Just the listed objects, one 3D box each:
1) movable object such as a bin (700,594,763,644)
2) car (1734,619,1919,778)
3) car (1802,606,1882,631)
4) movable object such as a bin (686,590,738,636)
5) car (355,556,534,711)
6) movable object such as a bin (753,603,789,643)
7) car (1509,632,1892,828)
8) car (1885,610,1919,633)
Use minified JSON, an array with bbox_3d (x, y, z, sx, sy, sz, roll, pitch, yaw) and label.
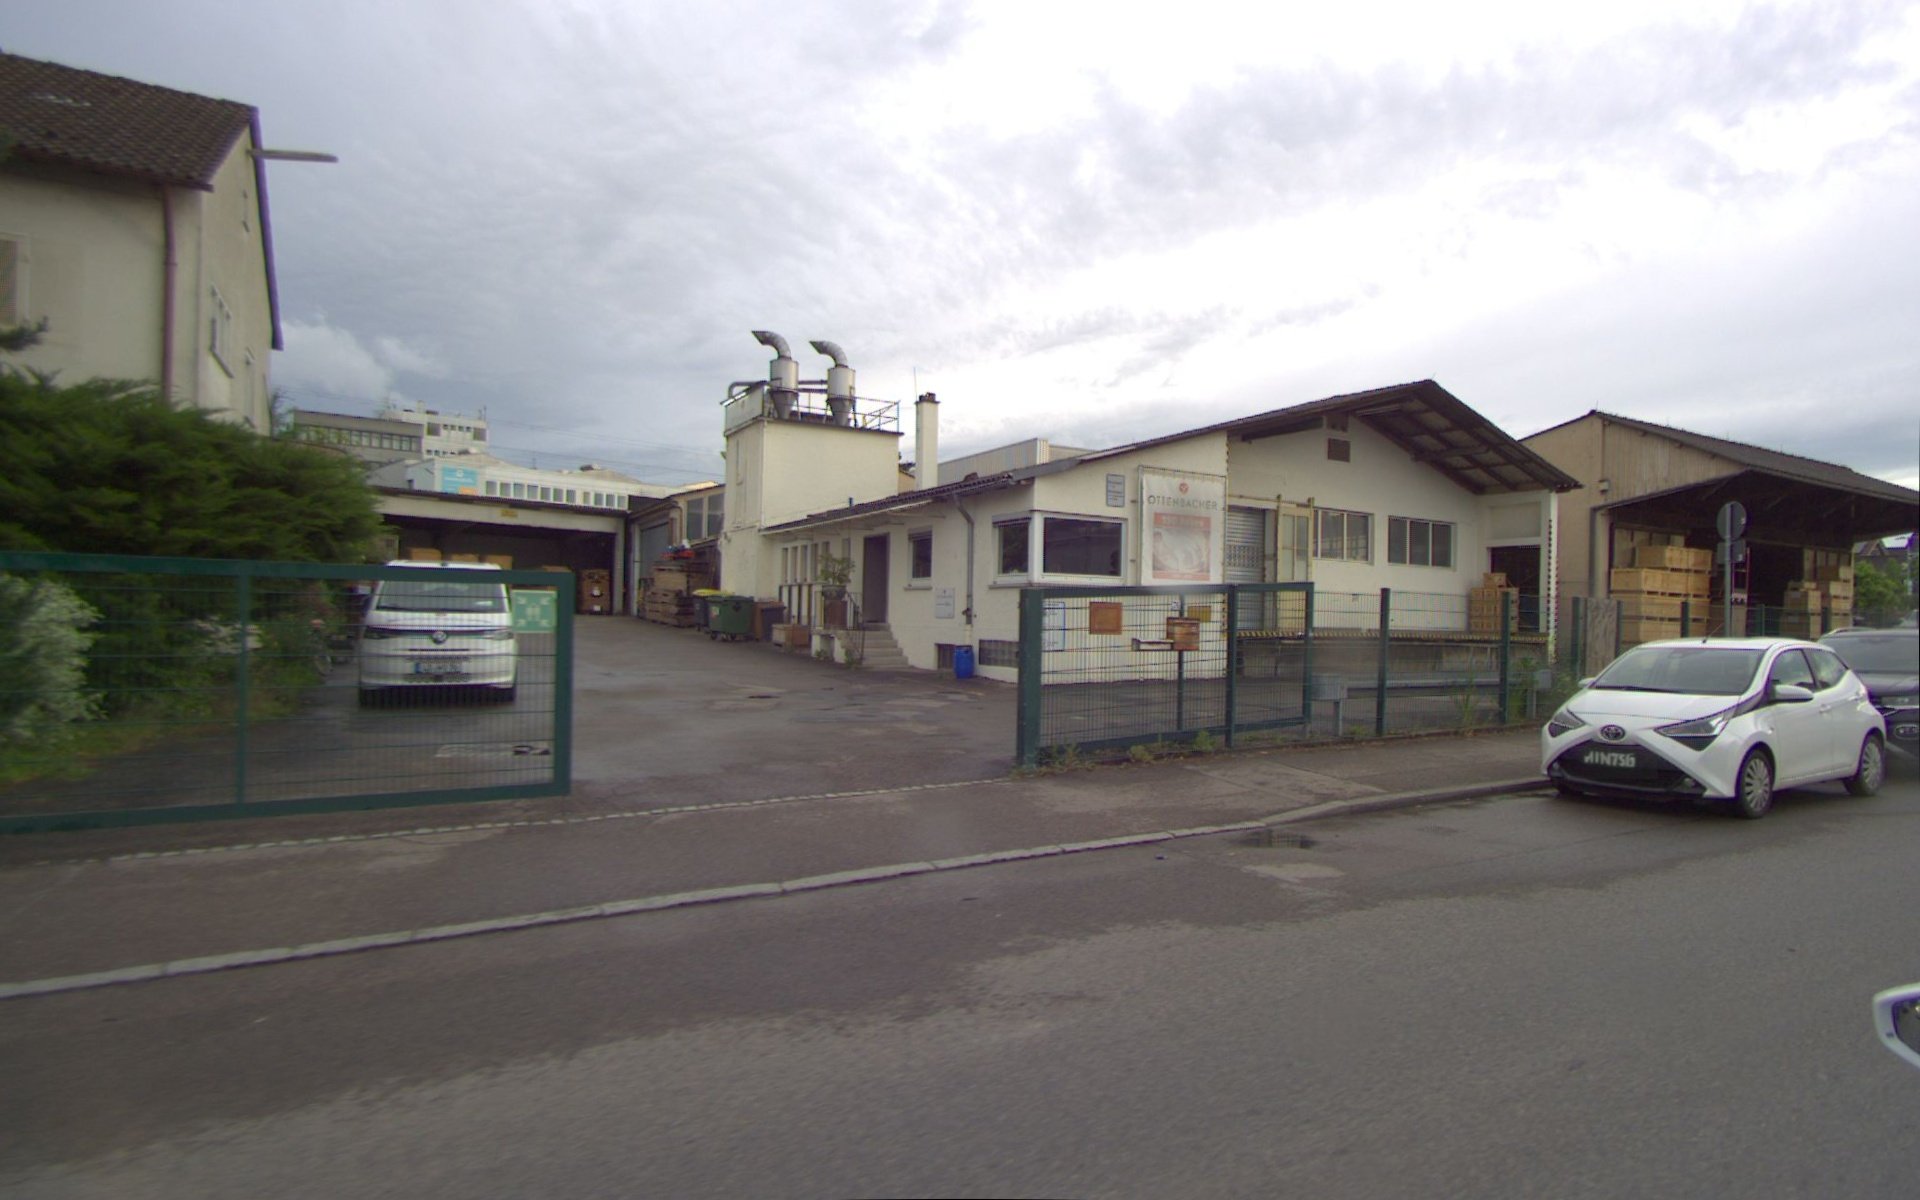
[{"bbox_3d":[-6.702,0.543,29.439,1.471,1.405,1.273,1,1,-32],"label":"movable object such as a bin"},{"bbox_3d":[10.976,1.070,11.838,3.872,1.605,1.653,2,-3,-31],"label":"car"},{"bbox_3d":[61.955,1.288,70.584,1.756,1.628,3.958,1,1,-37],"label":"car"},{"bbox_3d":[-7.815,0.402,31.675,1.228,1.405,1.318,1,1,-32],"label":"movable object such as a bin"},{"bbox_3d":[-7.628,0.388,14.934,1.975,1.881,4.979,1,0,-27],"label":"car"},{"bbox_3d":[-5.433,0.660,28.864,0.717,1.107,0.867,1,1,-32],"label":"movable object such as a bin"},{"bbox_3d":[7.037,1.085,9.501,3.617,1.529,1.609,1,-2,-30],"label":"car"},{"bbox_3d":[60.064,1.386,62.078,1.785,1.406,3.951,1,0,-34],"label":"car"}]
